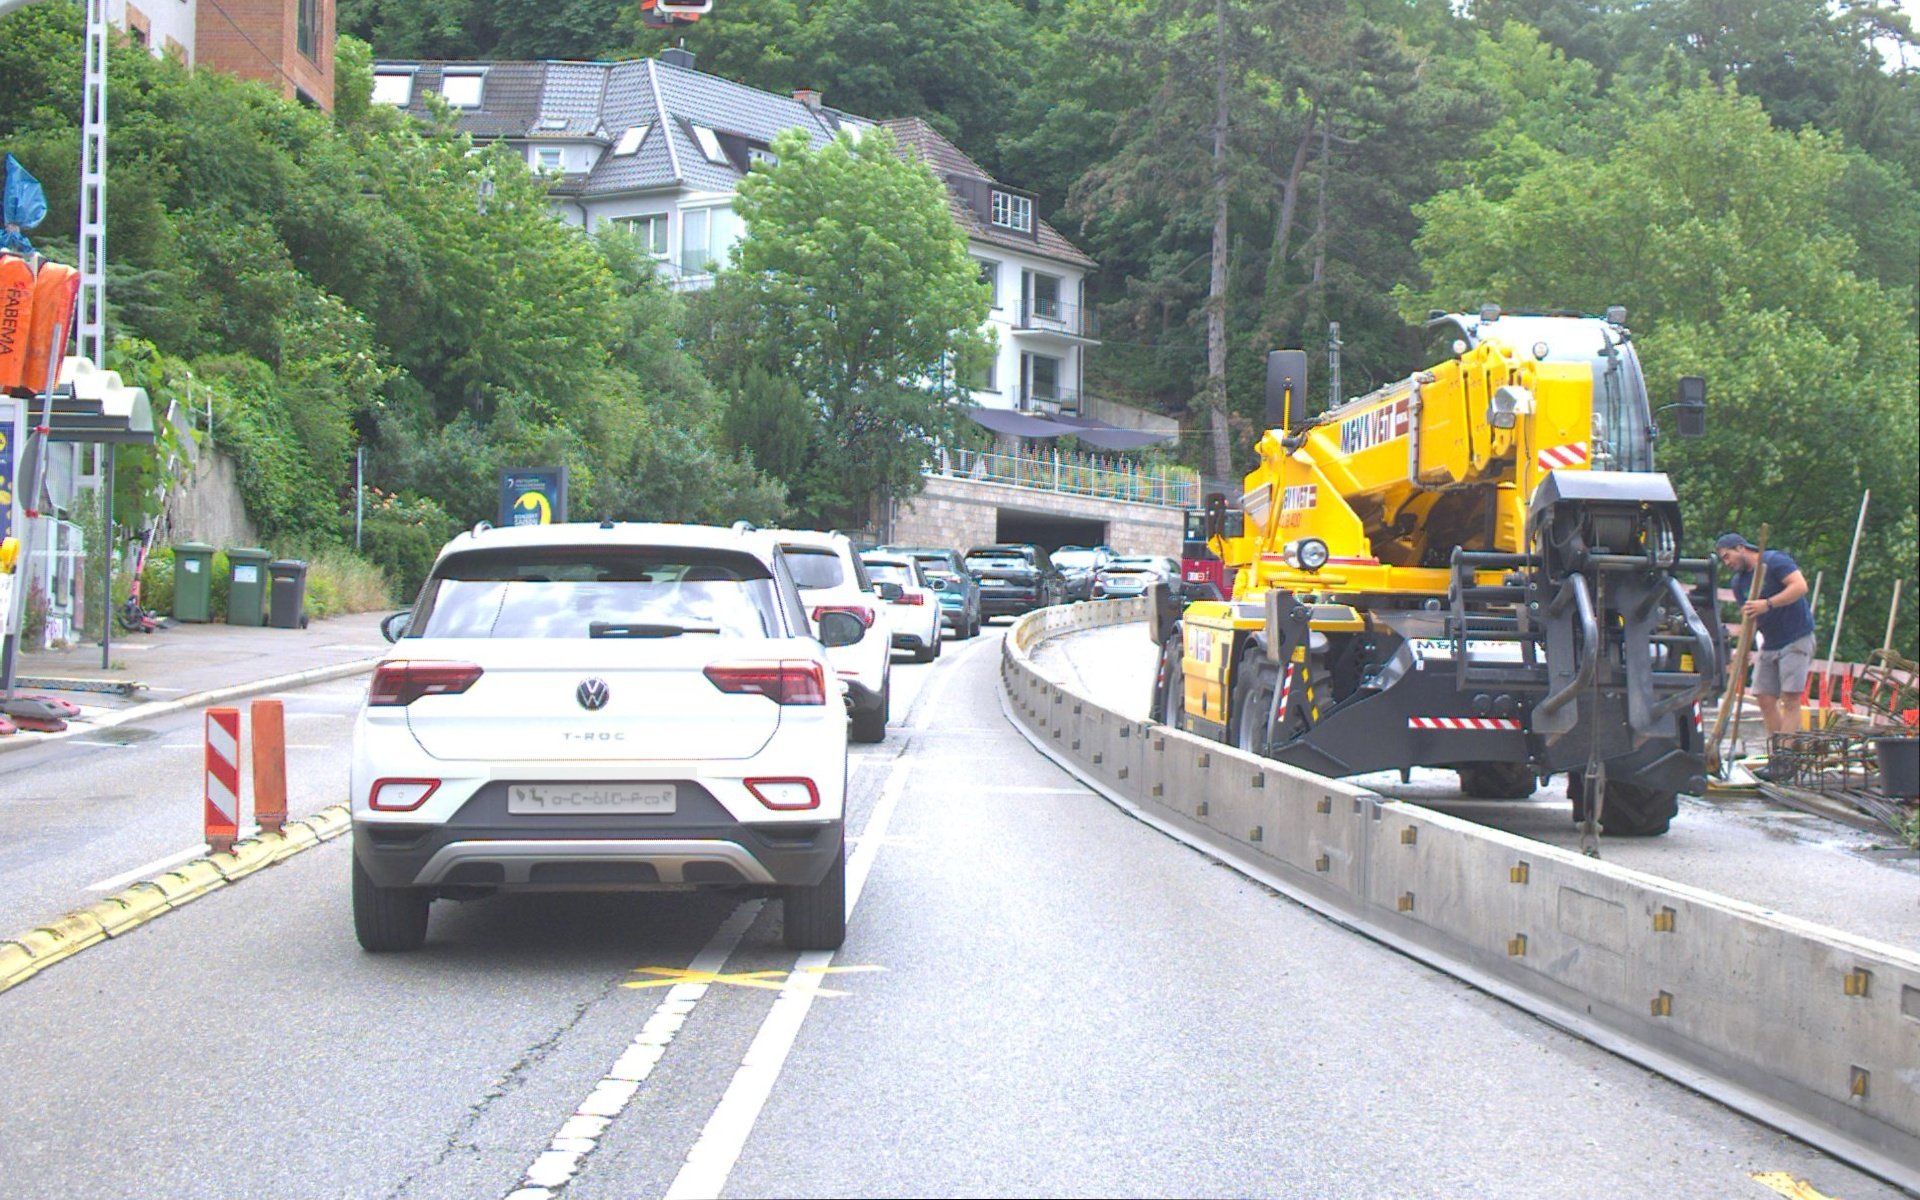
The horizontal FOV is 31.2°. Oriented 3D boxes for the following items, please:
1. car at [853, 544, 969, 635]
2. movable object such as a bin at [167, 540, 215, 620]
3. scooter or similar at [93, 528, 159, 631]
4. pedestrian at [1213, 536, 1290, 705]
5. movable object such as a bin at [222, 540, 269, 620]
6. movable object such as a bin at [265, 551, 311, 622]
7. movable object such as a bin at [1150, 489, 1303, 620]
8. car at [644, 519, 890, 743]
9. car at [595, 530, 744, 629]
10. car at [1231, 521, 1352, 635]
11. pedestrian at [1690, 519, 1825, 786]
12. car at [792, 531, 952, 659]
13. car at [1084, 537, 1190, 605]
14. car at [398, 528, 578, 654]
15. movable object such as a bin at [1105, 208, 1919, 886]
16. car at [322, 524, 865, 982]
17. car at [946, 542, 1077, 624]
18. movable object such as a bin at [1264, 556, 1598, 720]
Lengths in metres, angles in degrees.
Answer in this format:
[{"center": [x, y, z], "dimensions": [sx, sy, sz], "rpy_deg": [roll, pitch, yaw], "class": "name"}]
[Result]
[{"center": [-0.818, -0.204, 59.653], "dimensions": [1.794, 1.505, 4.000], "rpy_deg": [0, 1, 2], "class": "car"}, {"center": [-10.407, -0.271, 46.556], "dimensions": [0.468, 1.050, 0.624], "rpy_deg": [3, 1, -1], "class": "movable object such as a bin"}, {"center": [-10.016, -0.254, 41.331], "dimensions": [0.459, 1.201, 1.435], "rpy_deg": [3, 1, -3], "class": "scooter or similar"}, {"center": [2.988, 0.201, 35.353], "dimensions": [0.645, 1.696, 0.850], "rpy_deg": [2, 1, 0], "class": "pedestrian"}, {"center": [-9.681, -0.273, 46.569], "dimensions": [0.468, 1.050, 0.624], "rpy_deg": [3, 1, -1], "class": "movable object such as a bin"}, {"center": [-9.095, -0.180, 46.544], "dimensions": [0.468, 0.931, 0.624], "rpy_deg": [3, 1, -1], "class": "movable object such as a bin"}, {"center": [5.743, -0.978, 73.473], "dimensions": [2.213, 2.653, 4.941], "rpy_deg": [2, 1, 17], "class": "movable object such as a bin"}, {"center": [-1.477, 0.203, 27.476], "dimensions": [1.809, 1.657, 4.000], "rpy_deg": [0, 1, -1], "class": "car"}, {"center": [-4.887, -0.372, 58.358], "dimensions": [1.842, 1.594, 4.263], "rpy_deg": [1, 1, 4], "class": "car"}, {"center": [5.427, -0.391, 56.681], "dimensions": [1.833, 1.773, 4.268], "rpy_deg": [1, 1, 4], "class": "car"}, {"center": [5.423, 0.351, 23.396], "dimensions": [0.689, 1.788, 0.540], "rpy_deg": [1, 1, -13], "class": "pedestrian"}, {"center": [-1.158, -0.091, 46.895], "dimensions": [1.810, 1.657, 4.000], "rpy_deg": [0, 1, 4], "class": "car"}, {"center": [4.451, -0.743, 85.925], "dimensions": [1.811, 1.657, 3.997], "rpy_deg": [0, 1, 16], "class": "car"}, {"center": [-5.797, -0.131, 42.587], "dimensions": [1.671, 1.425, 3.587], "rpy_deg": [3, 1, 0], "class": "car"}, {"center": [2.743, -0.309, 19.824], "dimensions": [2.811, 3.060, 7.824], "rpy_deg": [2, 1, -4], "class": "movable object such as a bin"}, {"center": [-1.409, 0.482, 13.551], "dimensions": [1.809, 1.526, 4.001], "rpy_deg": [0, 1, -5], "class": "car"}, {"center": [1.101, -0.370, 71.448], "dimensions": [1.811, 1.657, 3.997], "rpy_deg": [0, 1, 15], "class": "car"}, {"center": [4.959, 0.331, 37.457], "dimensions": [2.374, 1.556, 7.100], "rpy_deg": [2, 1, -2], "class": "movable object such as a bin"}]
